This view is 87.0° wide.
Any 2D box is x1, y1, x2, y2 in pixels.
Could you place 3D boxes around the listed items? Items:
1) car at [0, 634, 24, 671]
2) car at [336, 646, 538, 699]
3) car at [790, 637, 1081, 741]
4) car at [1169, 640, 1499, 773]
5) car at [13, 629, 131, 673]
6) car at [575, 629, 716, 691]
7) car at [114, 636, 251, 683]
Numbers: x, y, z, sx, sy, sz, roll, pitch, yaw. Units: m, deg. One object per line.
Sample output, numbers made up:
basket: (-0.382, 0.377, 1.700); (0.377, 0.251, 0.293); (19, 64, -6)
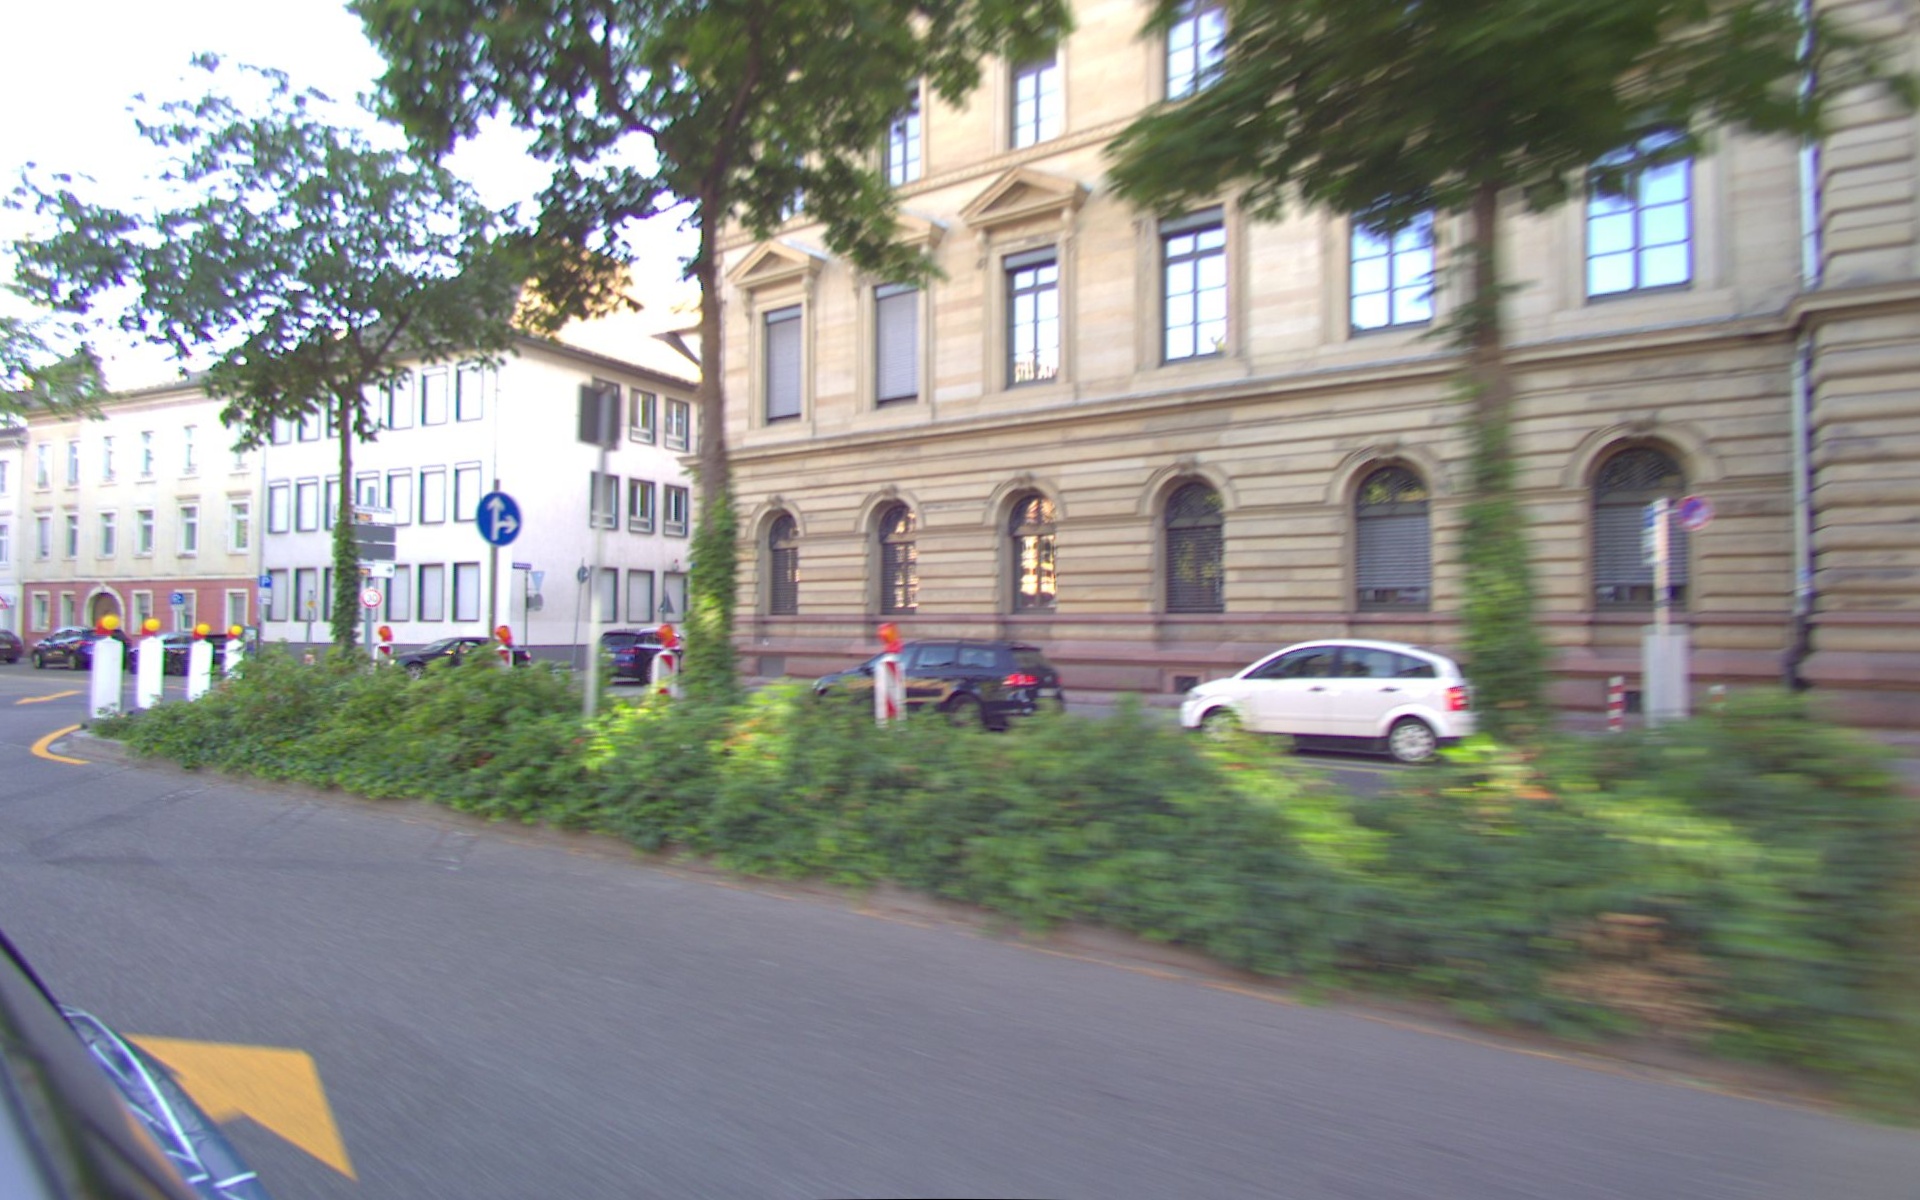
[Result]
car: (-41.357, 2.171, 42.216); (4.164, 1.499, 1.760); (-1, -1, 21)
car: (-14.454, 1.955, 28.252); (1.764, 1.333, 4.715); (-2, -3, 37)
car: (-0.481, 1.411, 16.877); (4.632, 1.519, 1.863); (-1, -5, 35)
car: (4.895, 1.296, 13.434); (3.836, 1.519, 1.654); (-1, -3, 34)
car: (-33.611, 1.921, 38.310); (4.130, 1.583, 1.792); (-1, -3, 24)
car: (-9.355, 1.806, 30.529); (1.865, 1.683, 4.632); (0, -3, 15)
car: (-27.247, 2.048, 35.444); (4.761, 1.519, 1.865); (-1, -1, 26)
